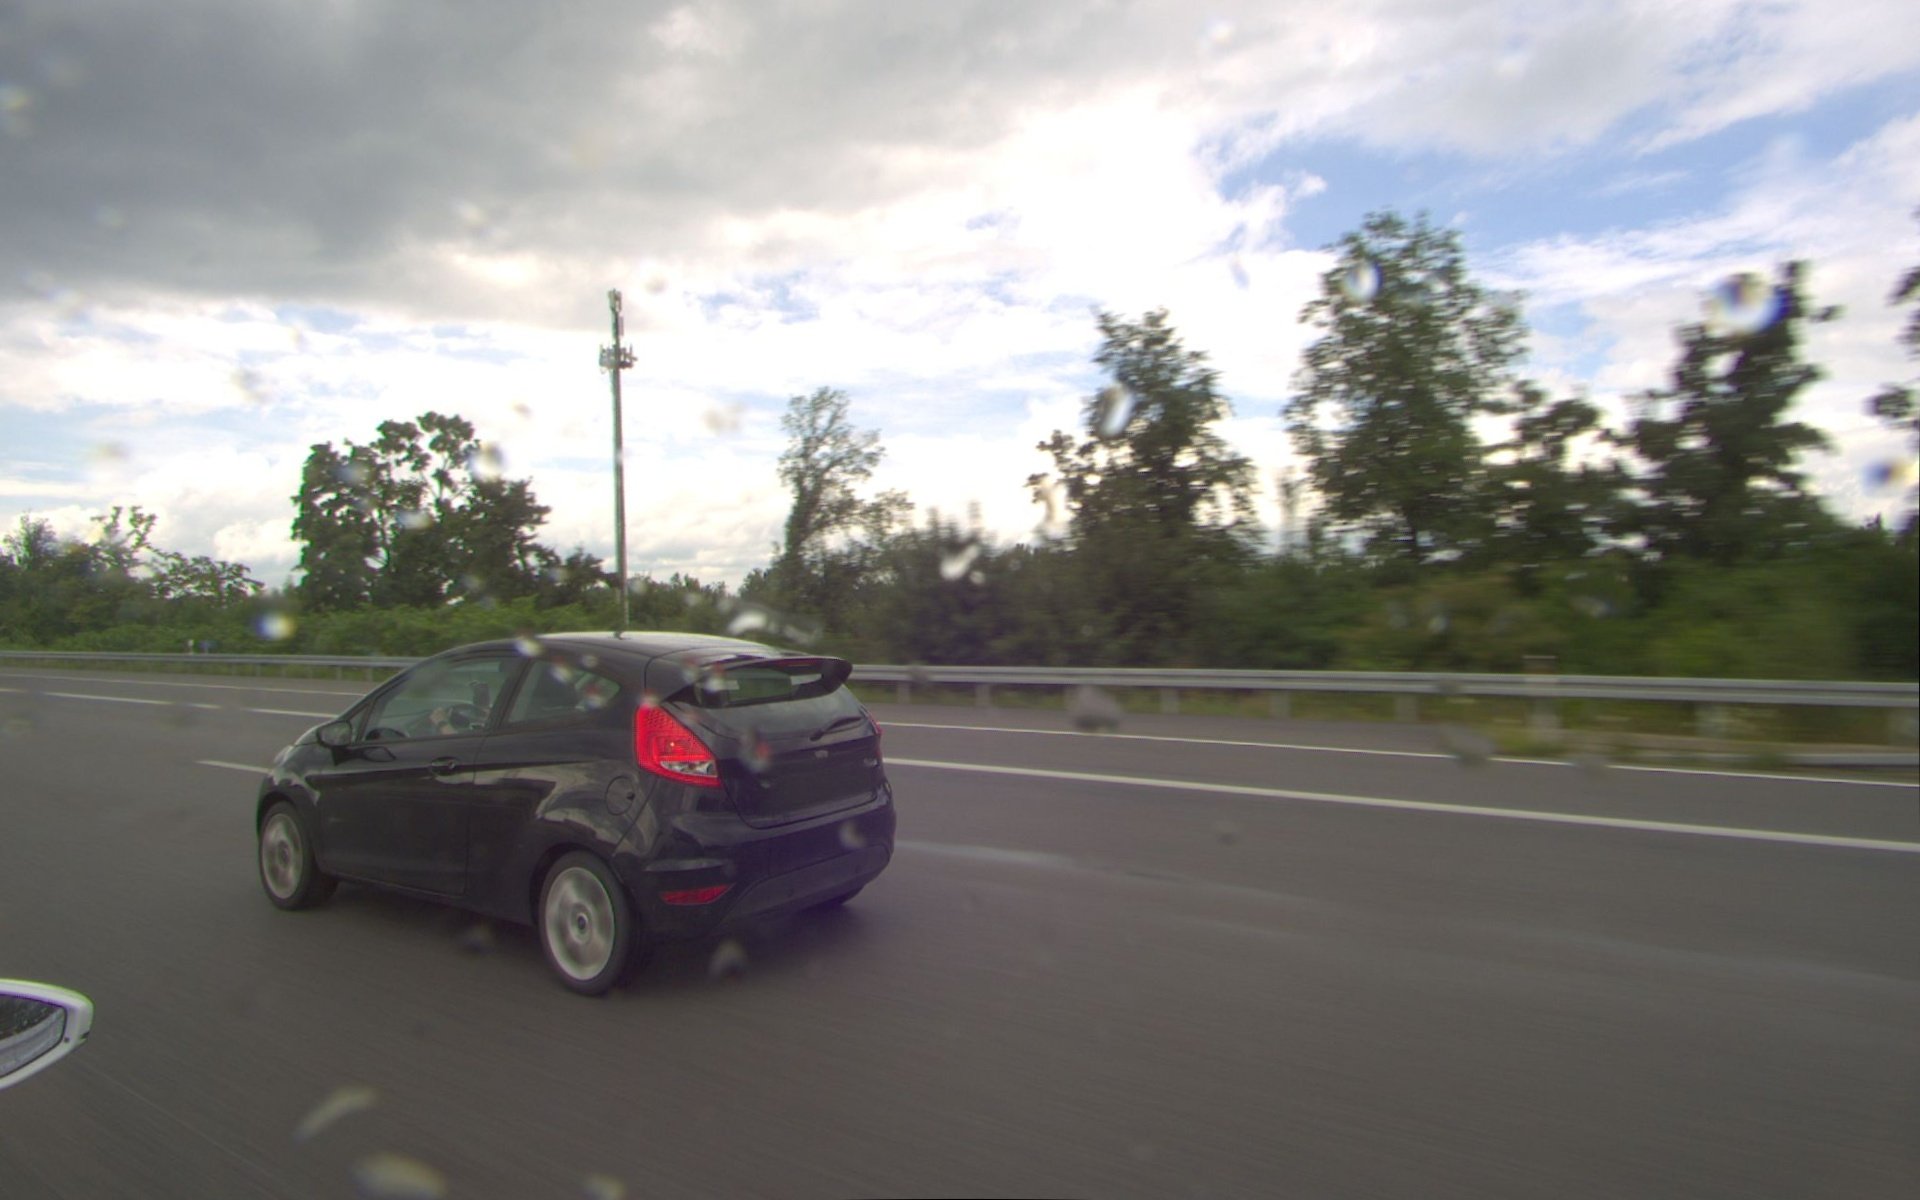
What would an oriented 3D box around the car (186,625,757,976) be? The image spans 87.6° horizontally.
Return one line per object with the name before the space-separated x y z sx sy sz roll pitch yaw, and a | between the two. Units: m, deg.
car | -2.796 0.886 5.621 3.118 1.460 1.445 -1 -2 32
